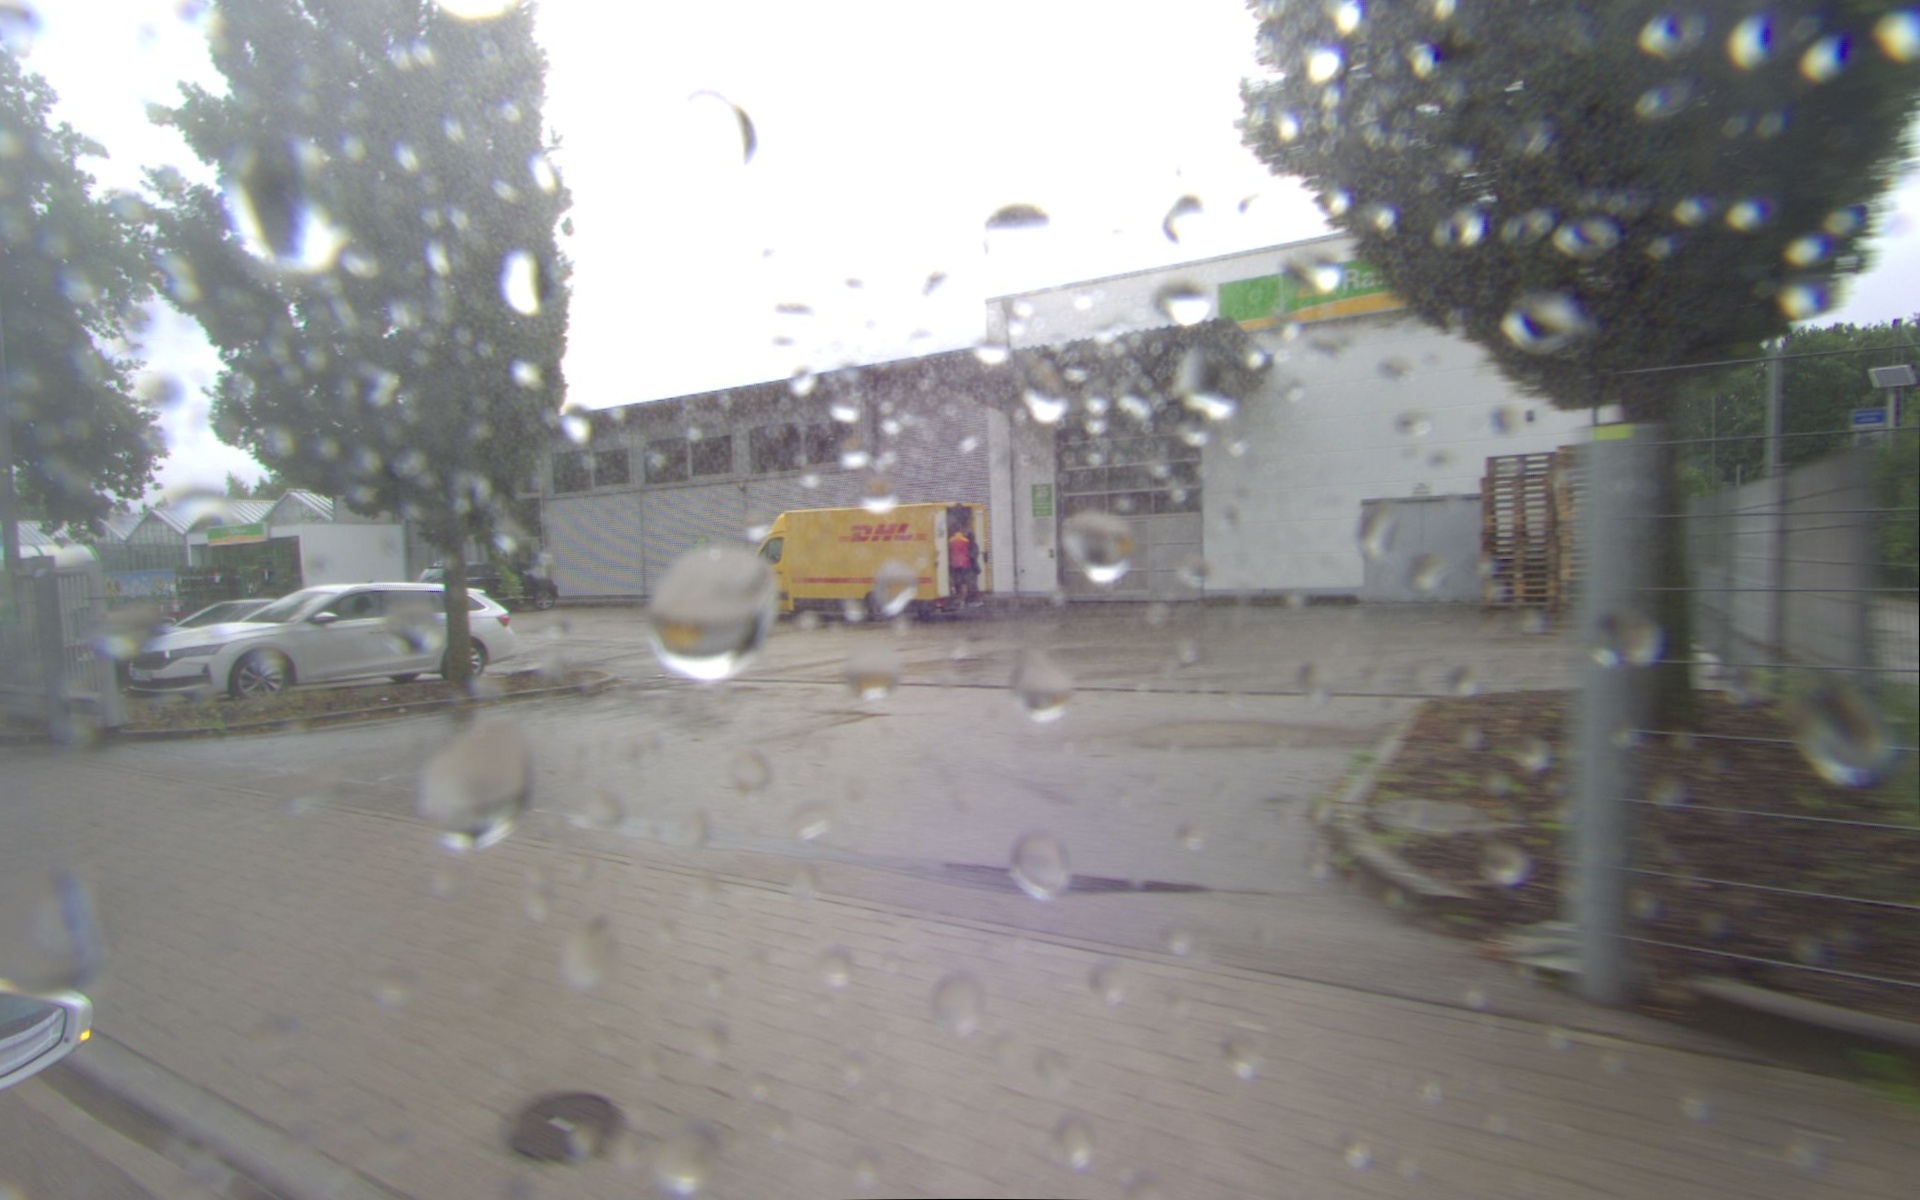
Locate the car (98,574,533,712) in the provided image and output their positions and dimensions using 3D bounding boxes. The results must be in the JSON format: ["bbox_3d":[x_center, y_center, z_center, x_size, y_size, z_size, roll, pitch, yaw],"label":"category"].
[{"bbox_3d":[-8.580,0.447,13.866,1.862,1.483,4.693,0,2,30],"label":"car"}]

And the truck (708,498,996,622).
[{"bbox_3d":[-2.844,-0.935,24.866,7.316,2.697,2.292,0,5,35],"label":"truck"}]

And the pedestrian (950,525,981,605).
[{"bbox_3d":[0.127,-0.784,22.344,0.427,1.742,0.453,0,5,35],"label":"pedestrian"}]

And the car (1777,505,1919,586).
[{"bbox_3d":[23.266,-1.389,24.866,4.315,1.849,1.780,-1,4,28],"label":"car"}]

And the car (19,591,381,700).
[{"bbox_3d":[-11.025,0.577,14.846,1.595,1.273,3.931,-1,2,30],"label":"car"}]

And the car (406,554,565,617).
[{"bbox_3d":[-15.871,-0.538,33.723,2.034,1.858,4.349,0,4,33],"label":"car"}]
